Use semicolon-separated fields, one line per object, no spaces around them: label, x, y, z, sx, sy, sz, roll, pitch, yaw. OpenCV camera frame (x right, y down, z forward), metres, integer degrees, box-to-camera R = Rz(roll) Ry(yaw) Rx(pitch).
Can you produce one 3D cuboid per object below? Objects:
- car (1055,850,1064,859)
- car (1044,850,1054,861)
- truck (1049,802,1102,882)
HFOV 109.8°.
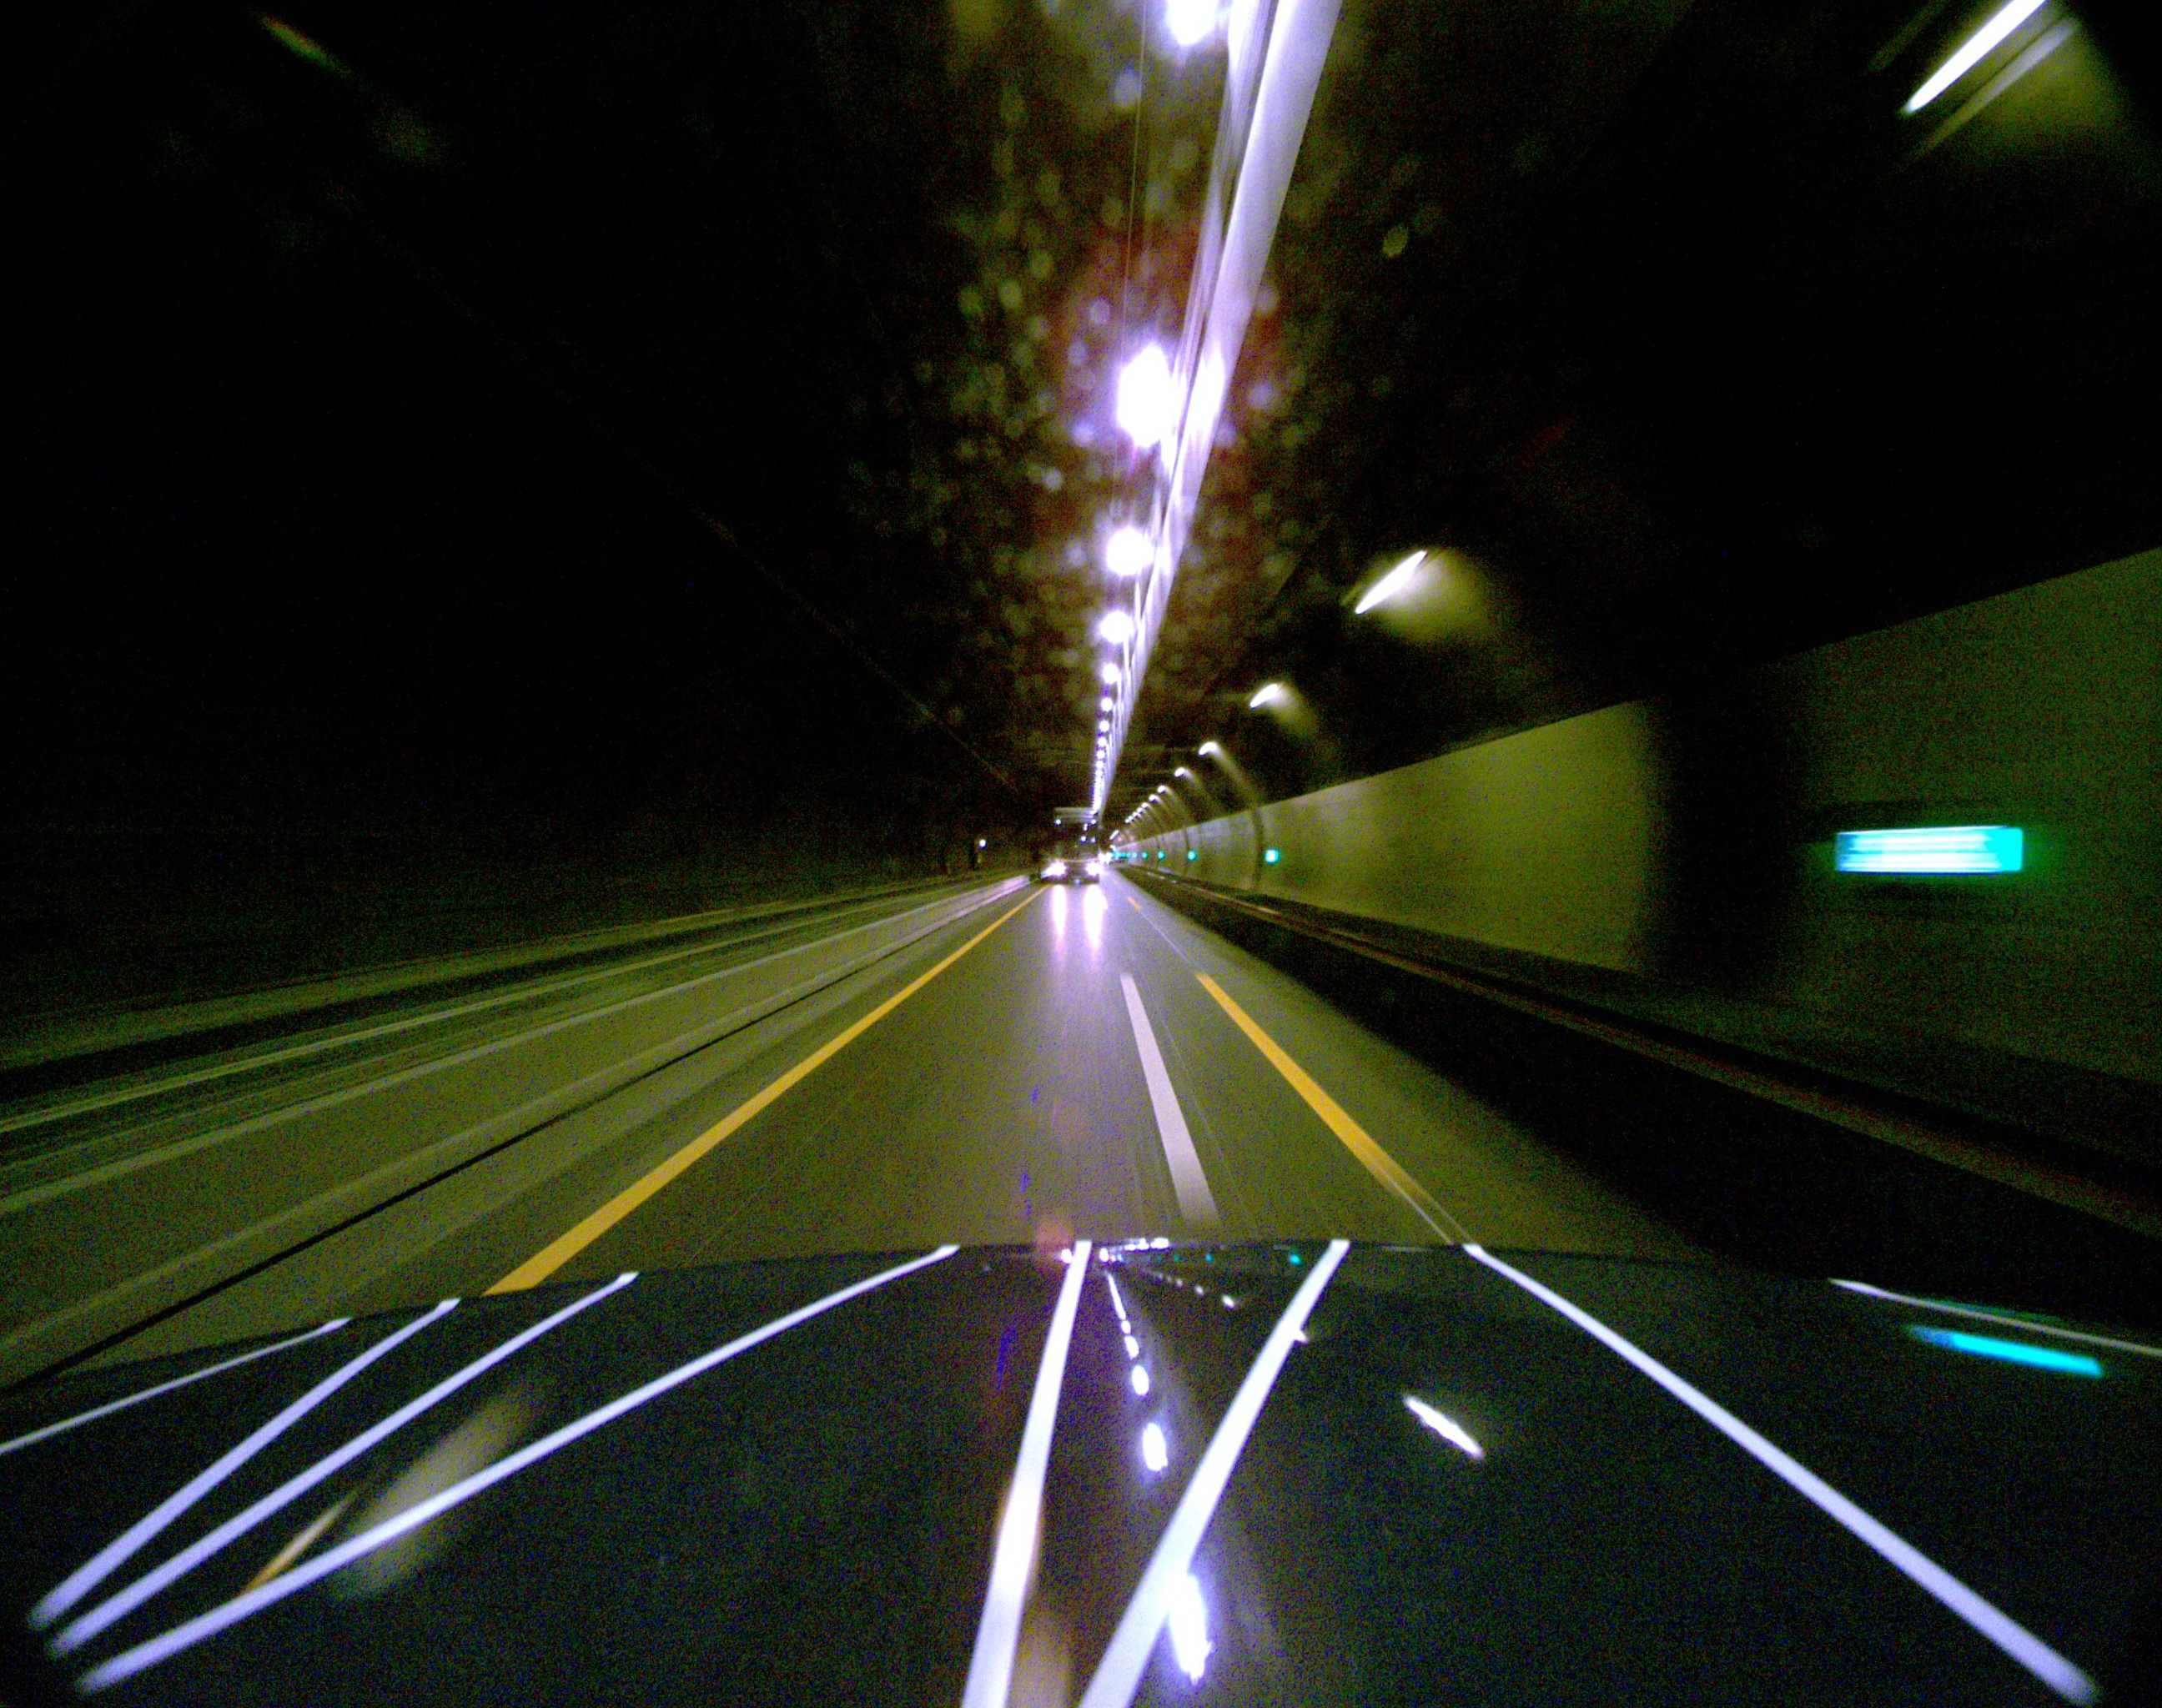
car;-4.549;0.155;162.104;1.832;1.848;5.441;-1;0;0
car;-5.635;0.209;132.076;1.756;1.834;4.644;0;0;-3
truck;-0.189;-0.654;43.990;2.769;4.198;7.977;0;1;2
